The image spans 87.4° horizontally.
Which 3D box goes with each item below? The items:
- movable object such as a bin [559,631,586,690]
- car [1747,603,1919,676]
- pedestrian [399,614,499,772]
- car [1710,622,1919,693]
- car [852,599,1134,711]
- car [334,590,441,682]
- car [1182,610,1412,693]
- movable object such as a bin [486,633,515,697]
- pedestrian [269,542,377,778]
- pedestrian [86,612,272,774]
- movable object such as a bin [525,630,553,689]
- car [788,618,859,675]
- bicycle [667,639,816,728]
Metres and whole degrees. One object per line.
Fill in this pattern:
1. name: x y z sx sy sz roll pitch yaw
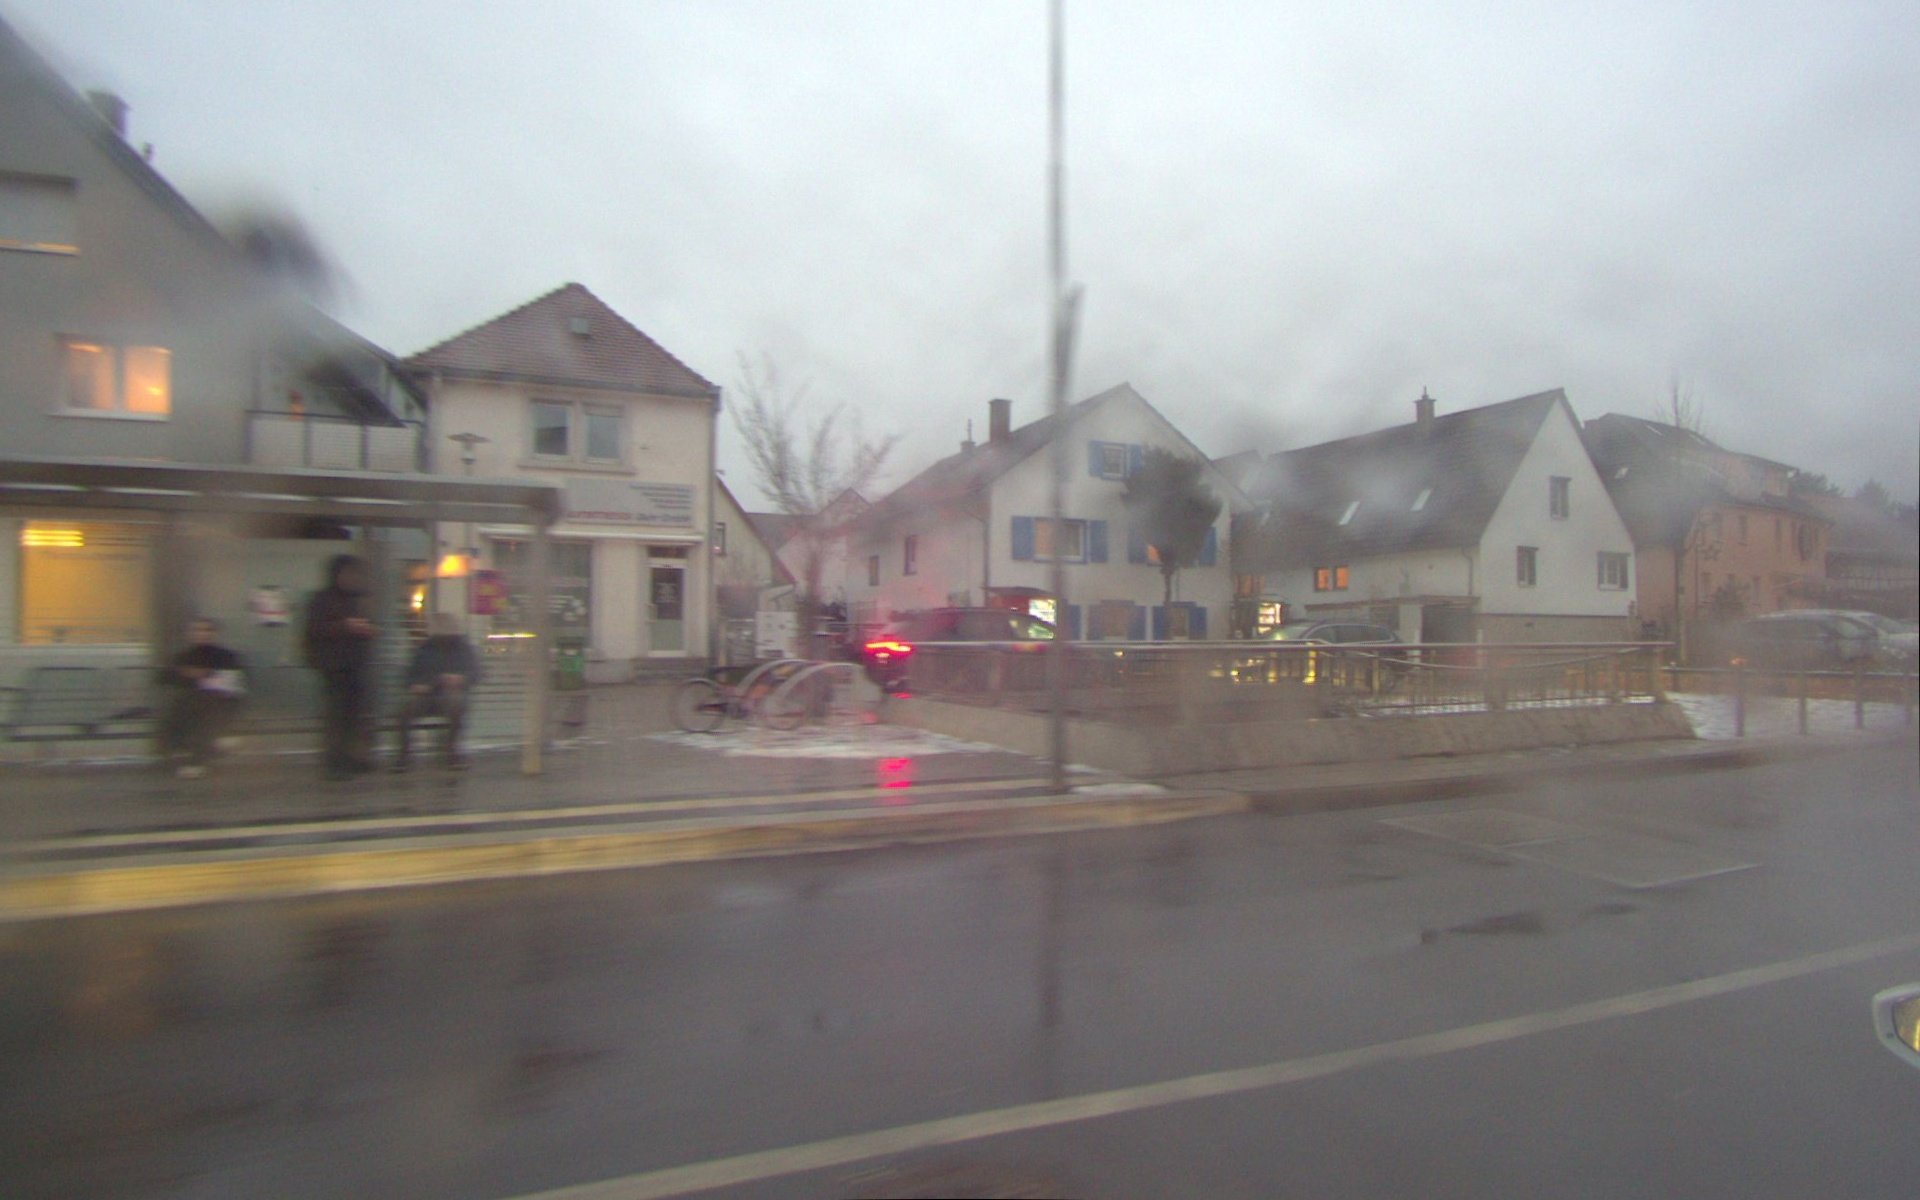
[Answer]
1. movable object such as a bin: -7.707 1.203 19.977 0.447 1.157 0.286 3 -1 -25
2. car: 20.738 0.877 23.126 1.690 1.543 3.785 1 -1 -23
3. pedestrian: -4.407 0.769 8.711 0.740 1.288 0.683 0 0 -25
4. car: 18.429 1.190 21.530 1.582 1.390 3.429 1 -2 -30
5. car: 0.579 0.911 17.221 4.501 1.723 1.751 0 -4 -24
6. car: -12.666 0.797 22.414 1.490 1.877 3.411 1 -2 -21
7. car: 6.856 0.999 20.369 4.513 1.502 1.796 0 -3 -28
8. movable object such as a bin: -8.909 1.261 19.470 0.447 1.225 0.286 3 -1 -25
9. pedestrian: -5.053 0.451 8.011 0.679 1.765 0.744 0 0 -29
10. pedestrian: -6.213 0.698 8.064 0.888 1.174 0.987 -1 0 -20
11. movable object such as a bin: -8.268 1.170 19.744 0.447 1.135 0.286 3 -1 -25
12. car: -4.851 1.665 35.257 1.651 1.865 3.647 0 -3 -21
13. bicycle: -2.620 0.988 12.109 1.709 1.023 0.470 1 -1 -13
